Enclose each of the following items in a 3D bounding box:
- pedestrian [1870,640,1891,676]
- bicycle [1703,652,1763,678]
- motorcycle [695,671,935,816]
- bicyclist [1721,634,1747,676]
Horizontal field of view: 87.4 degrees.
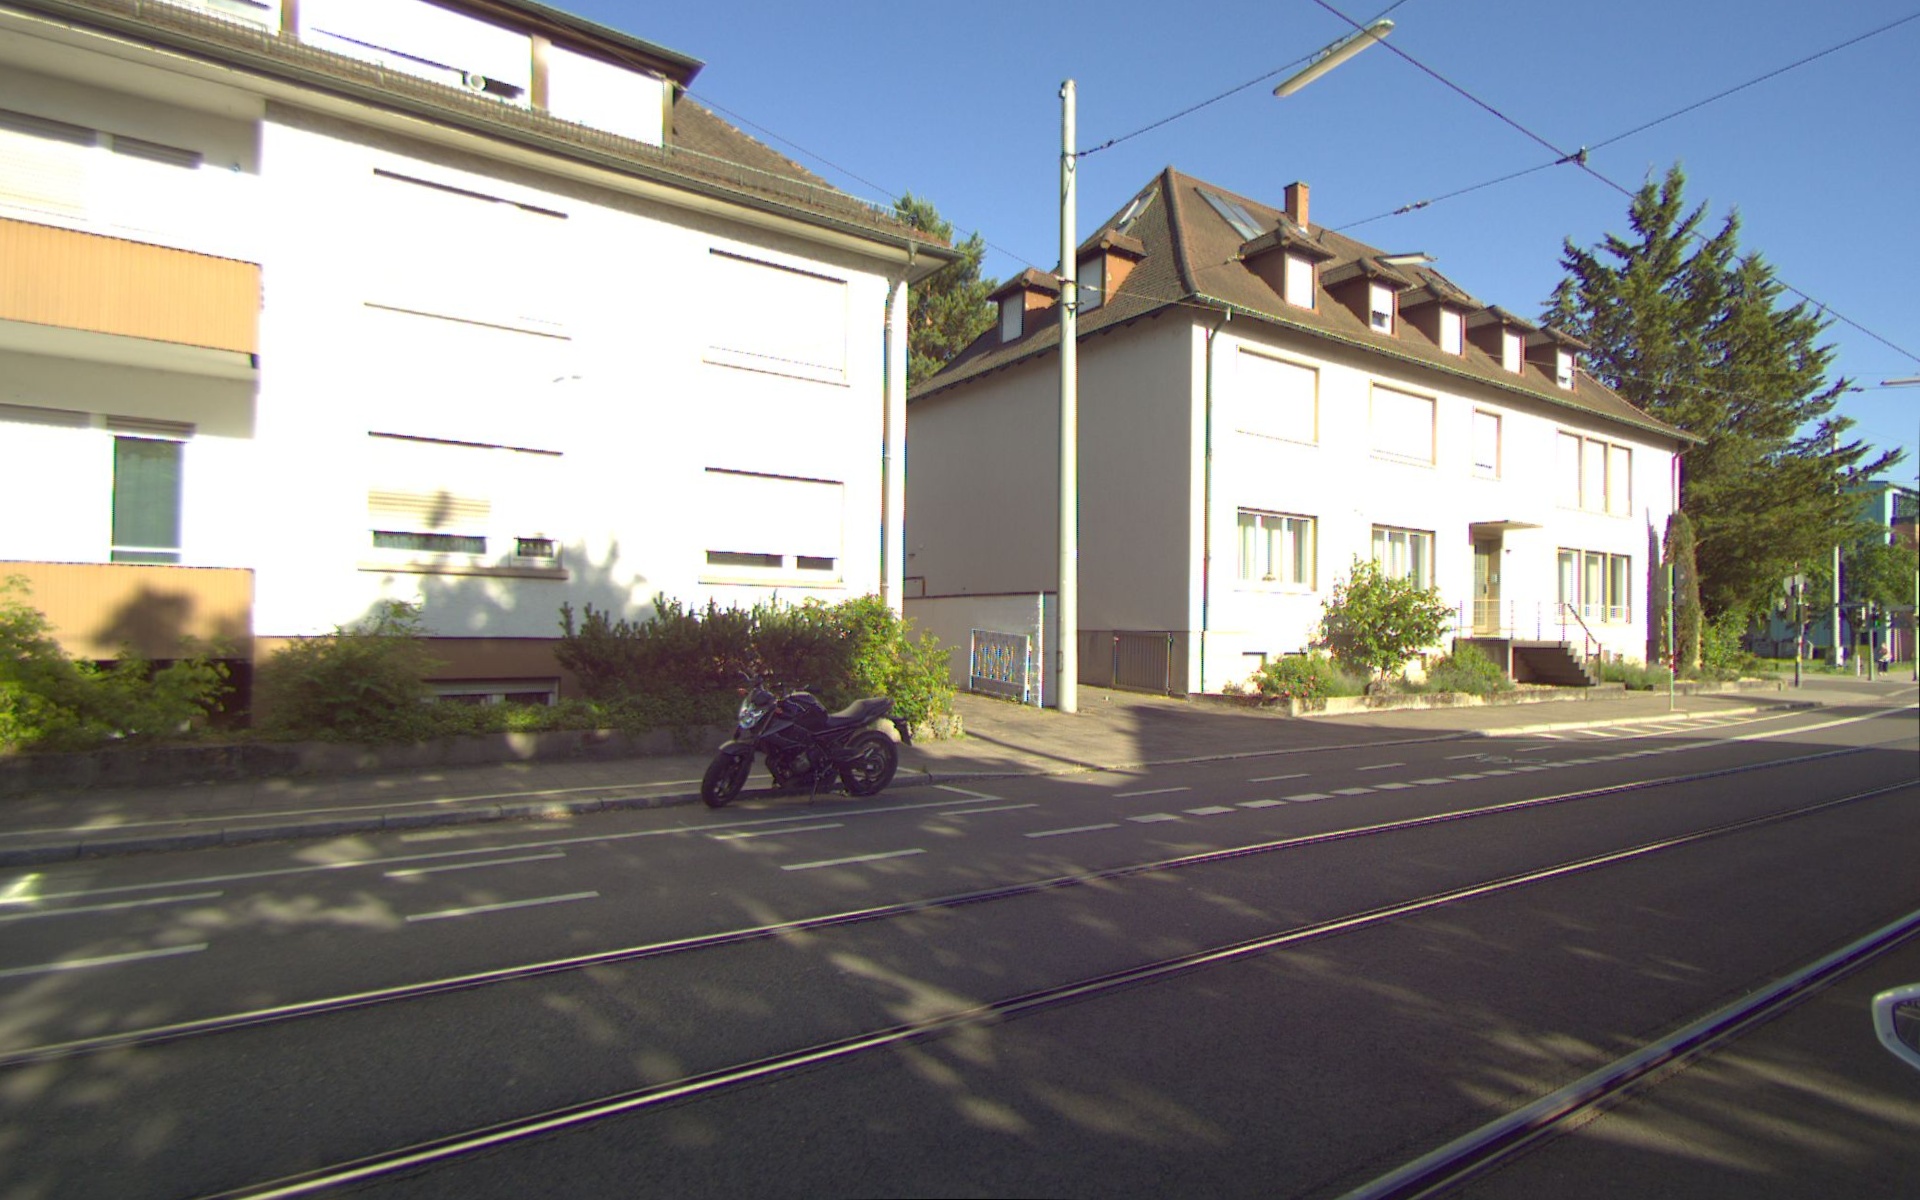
[{"bbox_3d":[45.239,2.847,49.367,0.601,1.712,0.730,3,1,38],"label":"pedestrian"},{"bbox_3d":[31.791,2.658,41.330,0.530,1.028,1.939,2,-2,-25],"label":"bicycle"},{"bbox_3d":[-1.273,1.246,9.165,2.149,1.177,0.533,2,-4,-34],"label":"motorcycle"},{"bbox_3d":[31.817,2.271,41.296,0.530,1.707,0.677,2,-2,-26],"label":"bicyclist"}]
